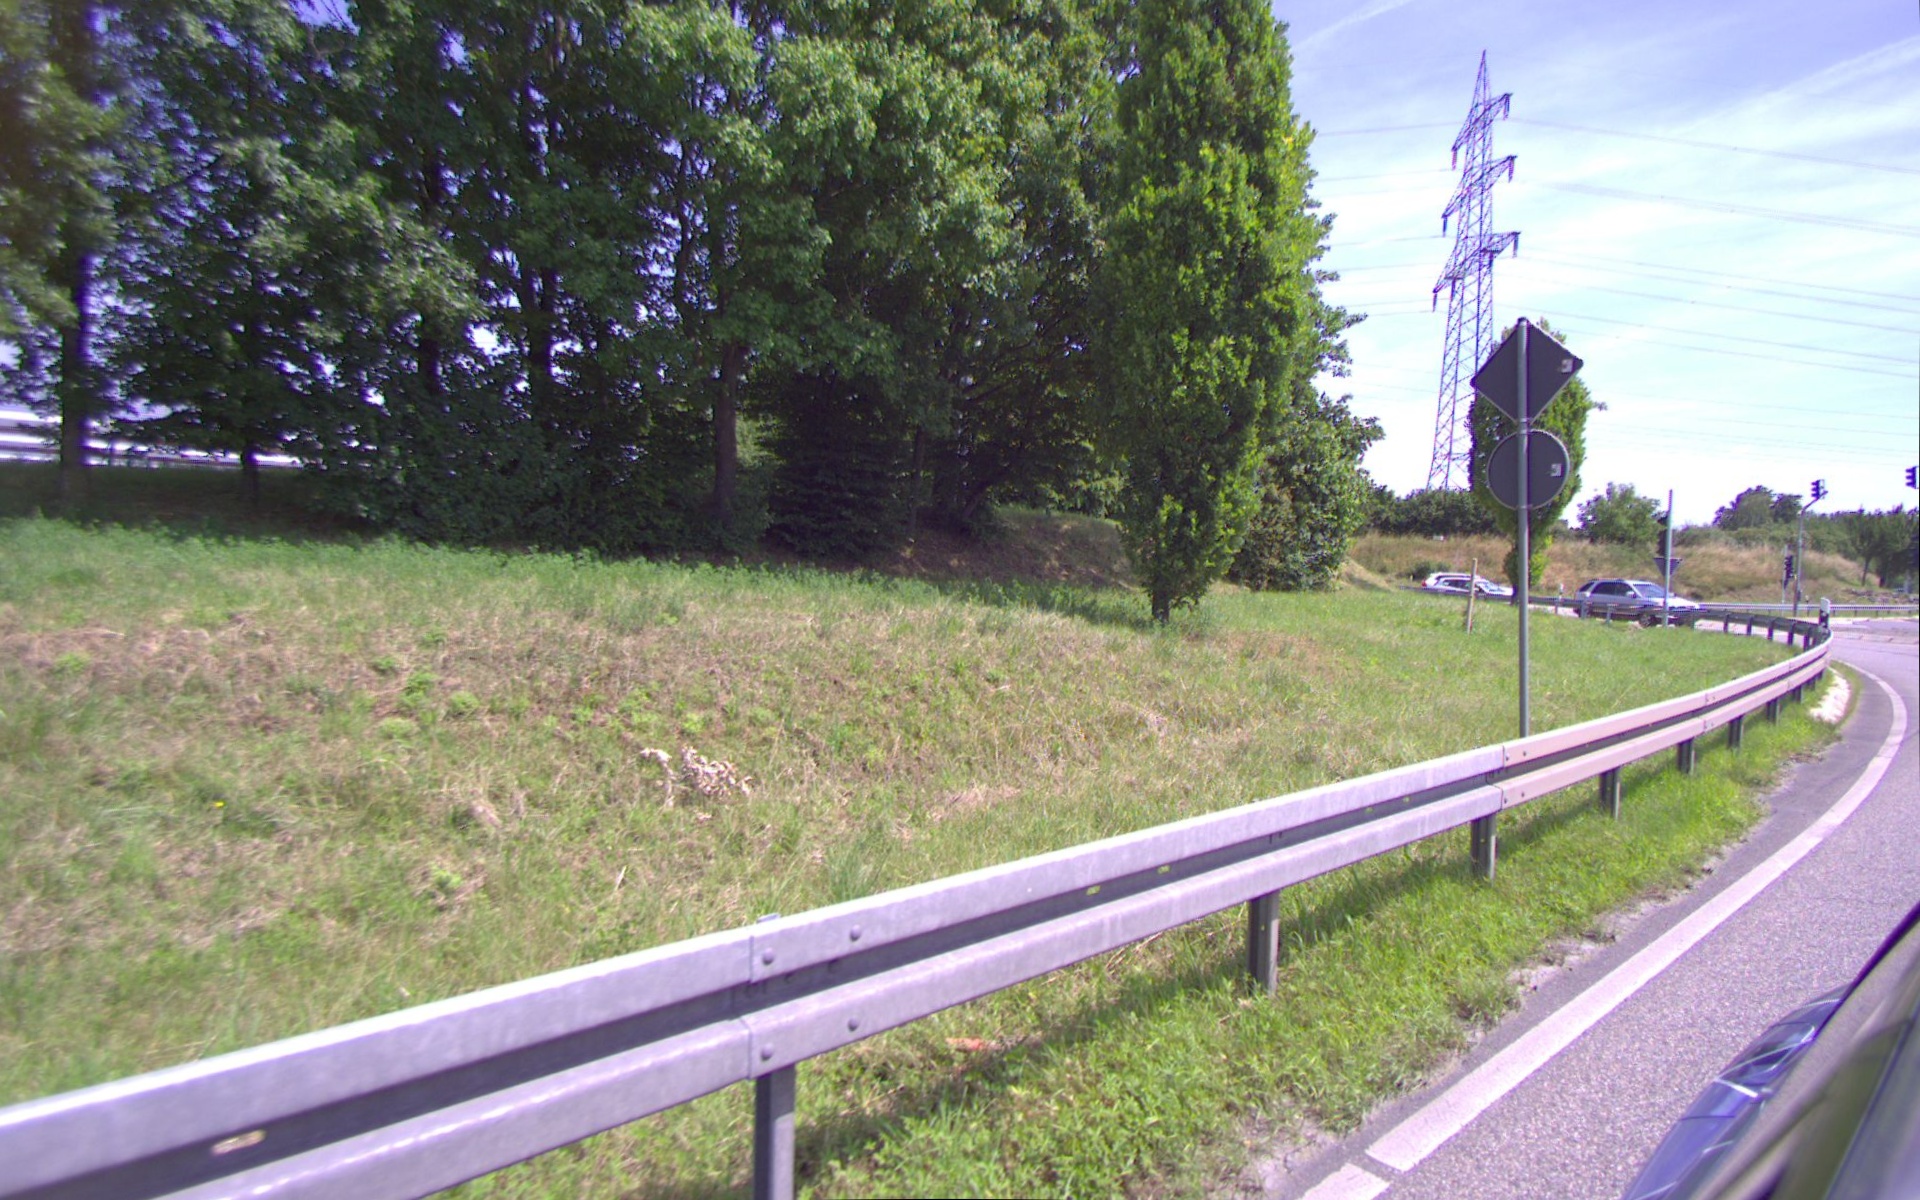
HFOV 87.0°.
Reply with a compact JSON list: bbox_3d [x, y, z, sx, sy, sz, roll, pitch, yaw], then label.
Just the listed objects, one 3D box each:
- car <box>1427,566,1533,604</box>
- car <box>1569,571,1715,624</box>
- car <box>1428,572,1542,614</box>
[{"bbox_3d":[24.685,-0.742,48.064,4.340,1.612,1.760,3,2,32],"label":"car"},{"bbox_3d":[24.824,-0.130,37.050,1.798,1.675,4.383,1,3,-11],"label":"car"},{"bbox_3d":[22.672,-0.359,43.844,1.746,1.619,4.006,0,3,-30],"label":"car"}]
